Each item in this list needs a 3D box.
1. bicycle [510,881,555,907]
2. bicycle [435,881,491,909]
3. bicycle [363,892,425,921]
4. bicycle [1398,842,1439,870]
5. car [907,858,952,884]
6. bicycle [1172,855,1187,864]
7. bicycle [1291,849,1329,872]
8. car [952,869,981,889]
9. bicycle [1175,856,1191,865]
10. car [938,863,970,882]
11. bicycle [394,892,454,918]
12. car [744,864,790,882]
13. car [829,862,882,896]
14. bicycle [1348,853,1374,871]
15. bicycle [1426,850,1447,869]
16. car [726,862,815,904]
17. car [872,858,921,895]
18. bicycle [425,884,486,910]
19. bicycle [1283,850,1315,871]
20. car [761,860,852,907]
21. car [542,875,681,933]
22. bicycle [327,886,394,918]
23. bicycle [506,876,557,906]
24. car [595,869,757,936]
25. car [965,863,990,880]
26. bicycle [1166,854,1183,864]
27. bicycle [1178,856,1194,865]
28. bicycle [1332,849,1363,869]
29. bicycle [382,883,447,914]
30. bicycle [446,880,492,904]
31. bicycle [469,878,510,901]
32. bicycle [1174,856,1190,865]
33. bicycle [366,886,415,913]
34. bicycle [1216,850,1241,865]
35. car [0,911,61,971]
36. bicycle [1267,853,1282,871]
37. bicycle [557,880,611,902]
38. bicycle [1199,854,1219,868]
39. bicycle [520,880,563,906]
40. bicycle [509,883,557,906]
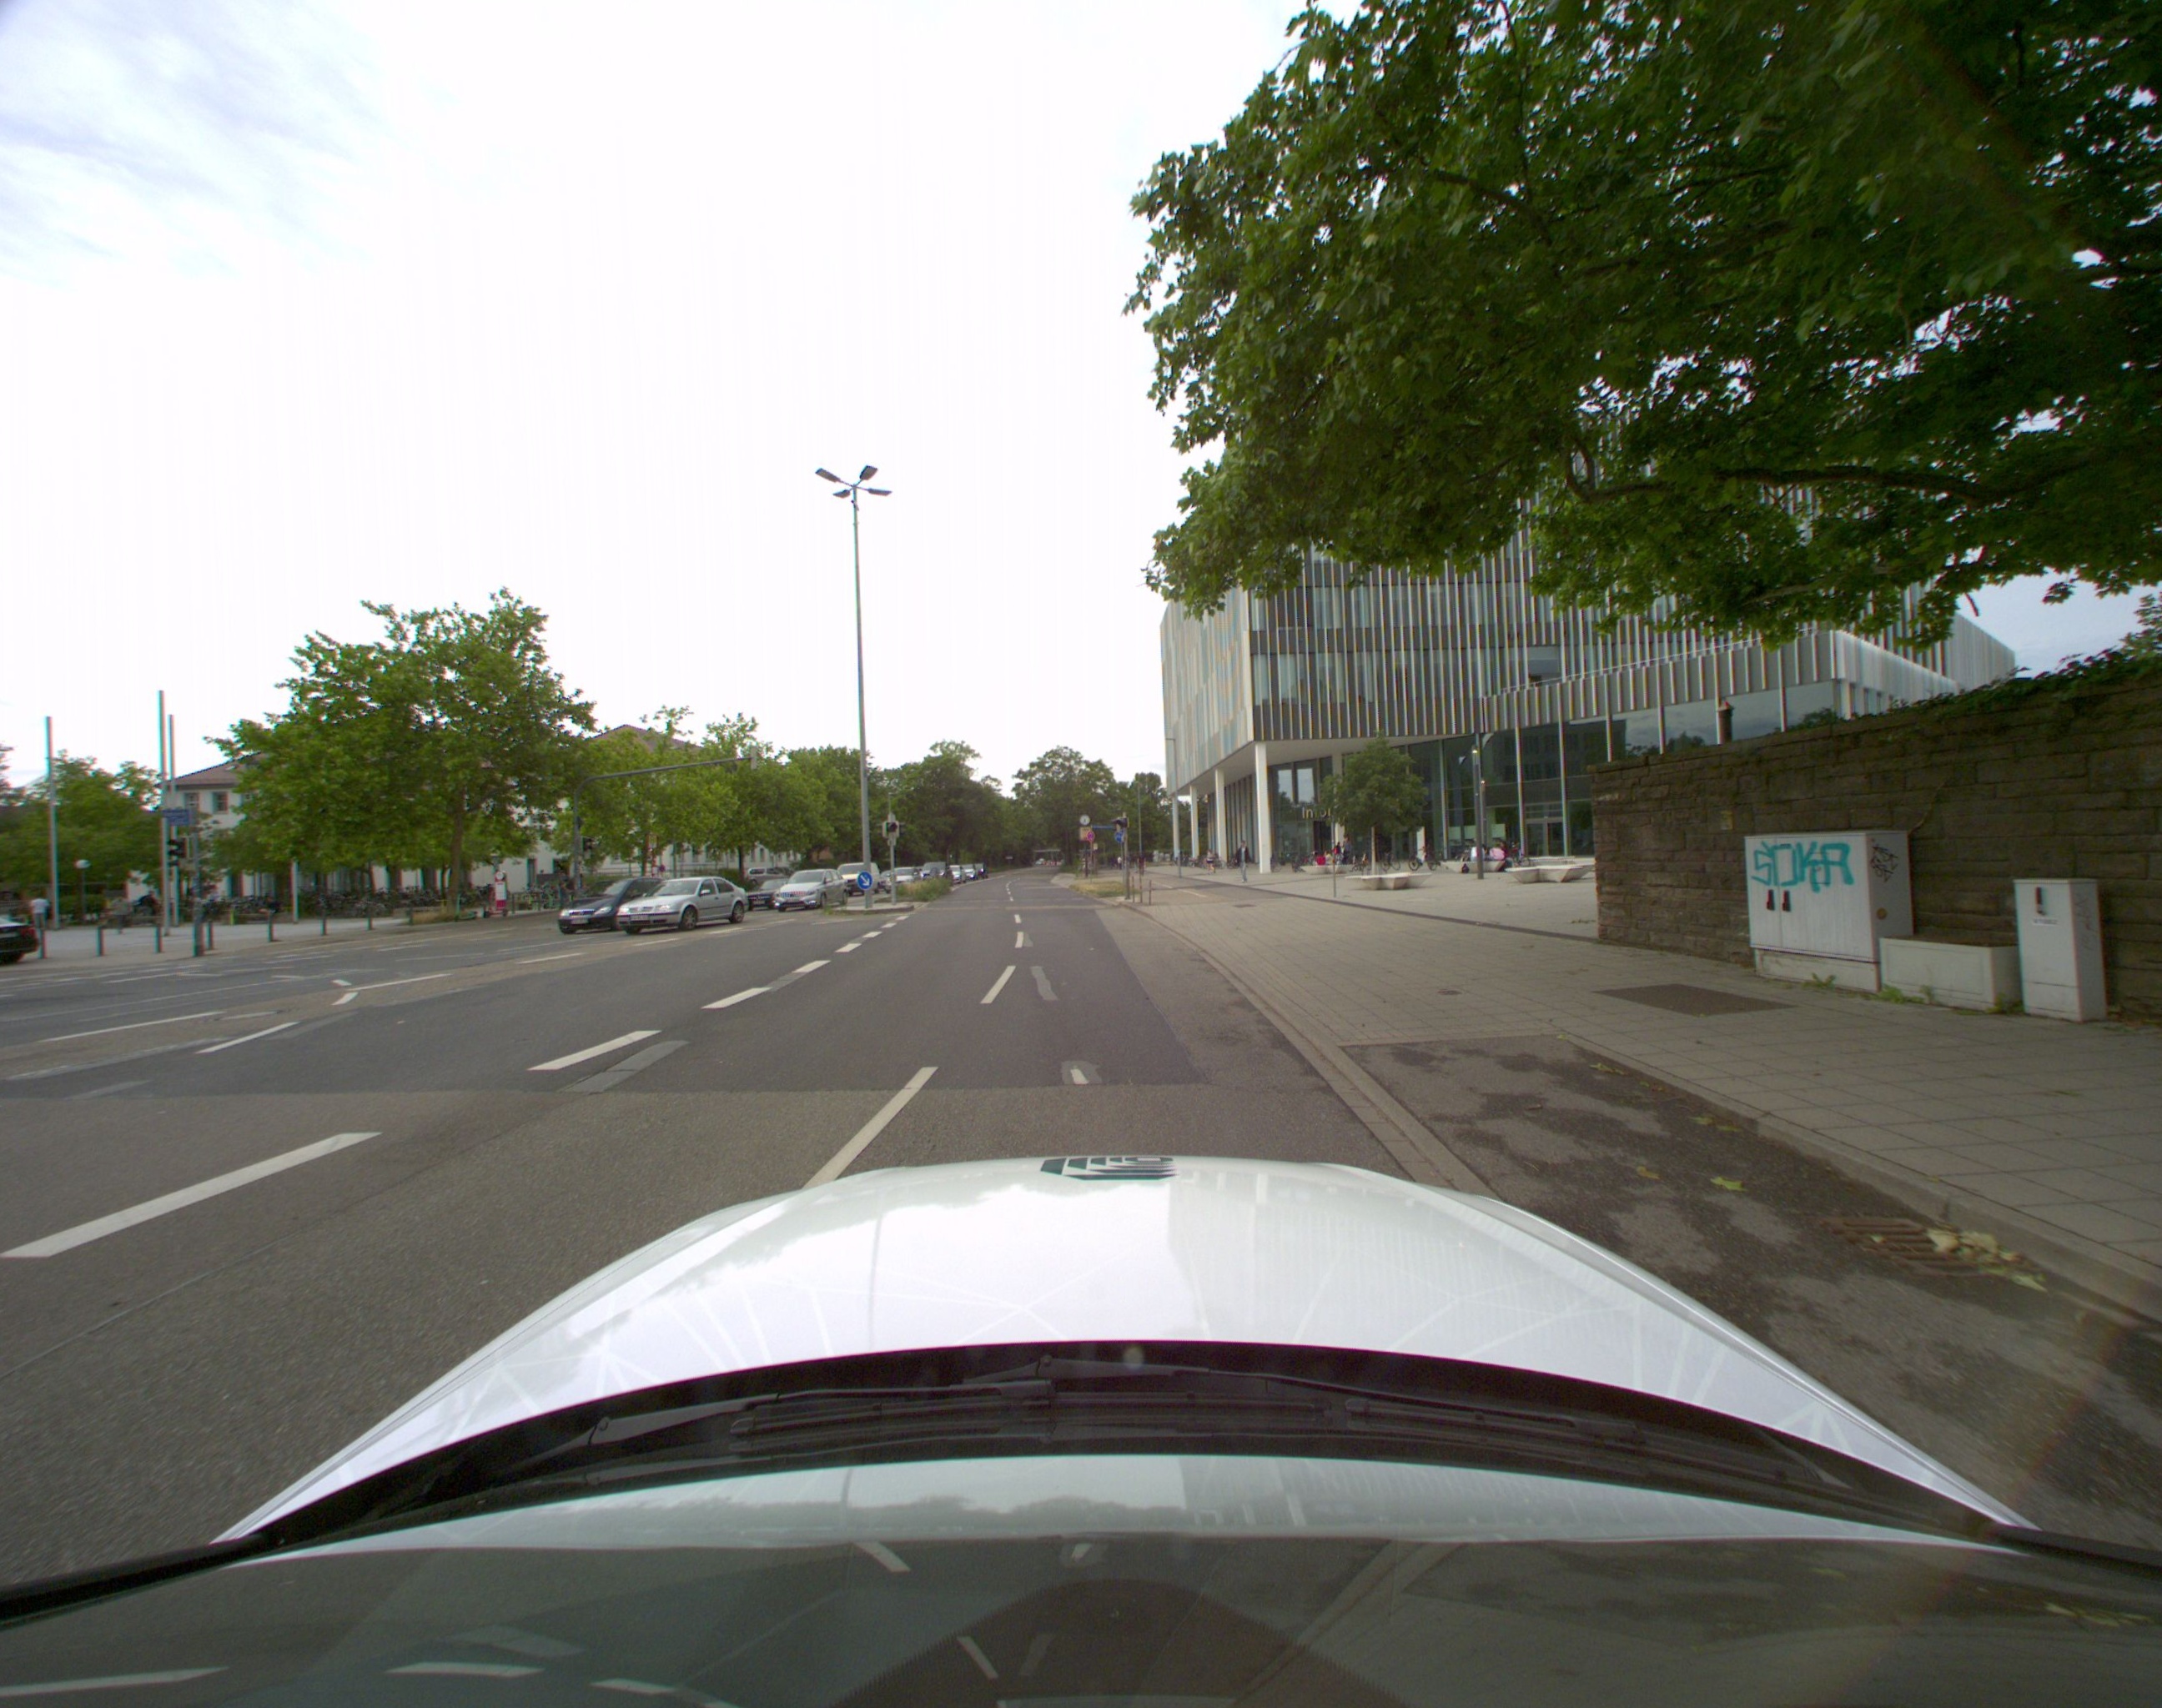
[{"bbox_3d":[-36.910,2.676,54.807,2.395,1.594,0.720,-3,-1,-5],"label":"bicycle"},{"bbox_3d":[-36.900,2.435,48.622,2.445,1.559,0.919,-2,-1,-12],"label":"bicycle"},{"bbox_3d":[-36.251,2.779,42.982,2.480,1.353,0.720,-3,-1,-5],"label":"bicycle"},{"bbox_3d":[17.409,0.113,41.986,2.010,1.306,0.641,-4,1,-23],"label":"bicycle"},{"bbox_3d":[-10.570,1.153,57.231,1.986,1.687,4.950,-1,0,2],"label":"car"},{"bbox_3d":[11.116,0.627,92.018,1.603,0.875,0.555,-3,0,-5],"label":"bicycle"},{"bbox_3d":[13.360,0.374,47.447,2.735,1.188,0.765,-2,0,-43],"label":"bicycle"},{"bbox_3d":[-10.458,2.256,74.392,1.988,1.547,4.178,-4,0,-1],"label":"car"},{"bbox_3d":[11.135,0.732,88.600,1.601,0.874,0.556,-3,0,-1],"label":"bicycle"},{"bbox_3d":[-10.144,1.446,65.351,1.898,1.465,4.909,-1,0,-1],"label":"car"},{"bbox_3d":[-36.175,2.786,44.871,2.531,1.269,0.720,-3,-1,-5],"label":"bicycle"},{"bbox_3d":[-28.725,1.700,74.574,3.577,1.602,1.650,-1,0,-3],"label":"car"},{"bbox_3d":[-13.193,1.434,47.934,1.765,1.848,4.489,-1,0,1],"label":"car"},{"bbox_3d":[15.439,0.418,44.834,0.663,0.899,1.857,-3,0,40],"label":"bicycle"},{"bbox_3d":[17.859,0.288,40.919,1.481,0.899,0.389,-2,-1,-45],"label":"bicycle"},{"bbox_3d":[-13.464,1.210,35.622,1.983,1.619,4.007,-3,0,6],"label":"car"},{"bbox_3d":[-10.999,1.307,48.755,1.988,2.013,3.998,-3,0,-1],"label":"car"},{"bbox_3d":[-36.503,2.488,47.553,2.813,1.329,0.720,-3,-1,-5],"label":"bicycle"},{"bbox_3d":[13.083,0.391,48.842,2.196,1.115,0.727,-2,0,-44],"label":"bicycle"},{"bbox_3d":[-10.842,1.118,32.539,1.950,1.584,4.258,-4,0,2],"label":"car"},{"bbox_3d":[-13.958,1.431,24.463,1.845,1.463,3.700,-3,0,3],"label":"car"},{"bbox_3d":[-38.687,2.571,43.752,2.655,1.559,0.779,-2,-1,-7],"label":"bicycle"},{"bbox_3d":[-31.204,2.114,46.270,2.193,1.559,0.896,-2,-1,-12],"label":"bicycle"},{"bbox_3d":[-11.030,1.270,22.593,1.983,1.529,4.281,-3,0,6],"label":"car"},{"bbox_3d":[-10.549,1.798,83.108,1.897,1.593,4.514,-3,0,-1],"label":"car"},{"bbox_3d":[10.723,0.574,93.153,1.790,1.082,0.625,-5,0,-3],"label":"bicycle"},{"bbox_3d":[10.528,0.640,81.738,1.528,0.833,0.556,-3,0,-1],"label":"bicycle"},{"bbox_3d":[14.926,0.290,45.539,1.971,1.002,0.765,-2,0,-43],"label":"bicycle"},{"bbox_3d":[-37.427,2.490,45.752,2.660,1.559,0.919,-2,-1,-12],"label":"bicycle"},{"bbox_3d":[-43.262,2.676,57.576,3.055,1.559,0.927,-3,-1,16],"label":"bicycle"},{"bbox_3d":[-43.215,2.568,59.505,2.638,1.559,0.927,-3,-1,16],"label":"bicycle"},{"bbox_3d":[11.200,0.698,90.203,1.601,0.874,0.556,-3,0,-1],"label":"bicycle"},{"bbox_3d":[-42.519,2.789,50.145,2.638,1.559,0.927,-3,-1,16],"label":"bicycle"},{"bbox_3d":[13.002,0.336,71.872,1.962,1.144,0.652,-5,0,40],"label":"bicycle"},{"bbox_3d":[-30.101,2.313,21.260,4.134,1.472,1.997,-1,0,-5],"label":"car"},{"bbox_3d":[12.109,0.491,50.968,0.635,1.061,1.842,-1,0,4],"label":"bicycle"},{"bbox_3d":[-30.683,2.296,50.312,2.742,1.174,0.720,-3,-1,-5],"label":"bicycle"},{"bbox_3d":[11.276,0.608,71.751,1.635,1.091,0.573,-5,-1,7],"label":"bicycle"},{"bbox_3d":[-37.069,2.683,55.967,2.395,1.594,0.720,-3,-1,-5],"label":"bicycle"},{"bbox_3d":[-30.328,2.236,45.129,2.035,1.153,0.717,-2,-1,-19],"label":"bicycle"}]
